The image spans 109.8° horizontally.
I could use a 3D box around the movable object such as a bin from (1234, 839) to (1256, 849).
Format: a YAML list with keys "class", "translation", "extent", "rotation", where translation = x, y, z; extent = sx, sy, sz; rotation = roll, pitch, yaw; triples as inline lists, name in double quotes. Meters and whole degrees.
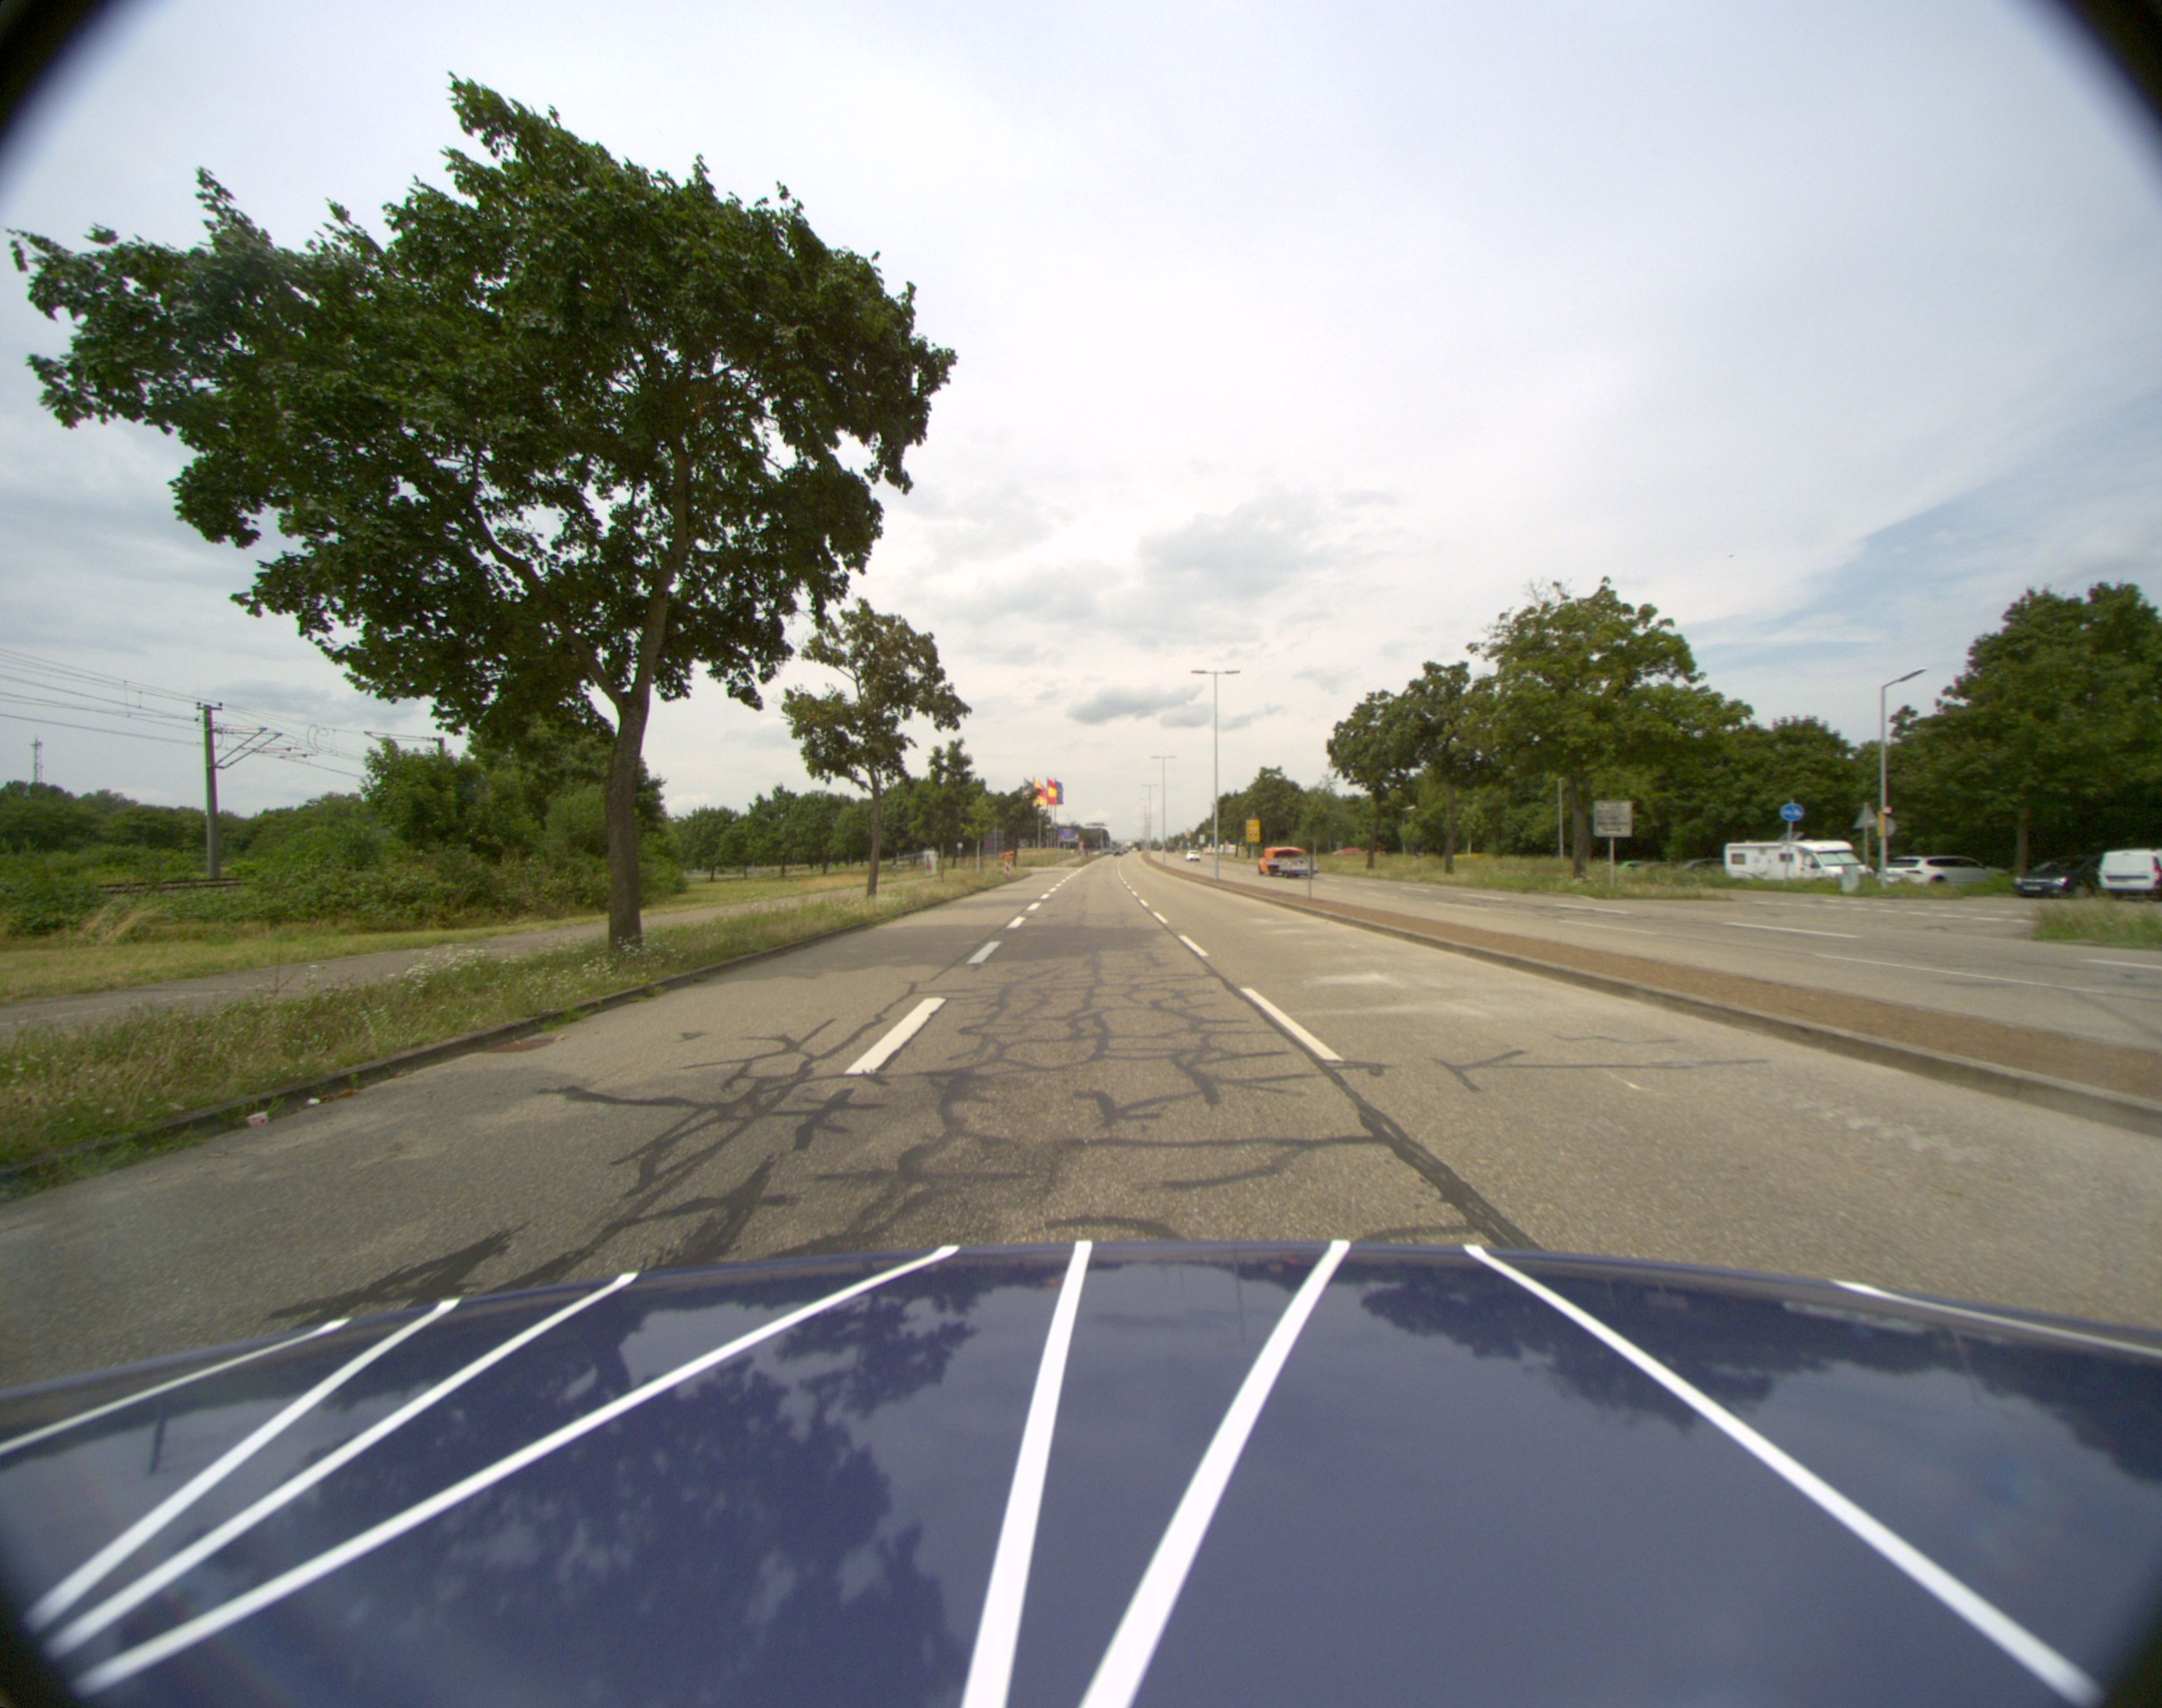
- class: "movable object such as a bin"
  translation: [38.453, -2.363, 177.926]
  extent: [4.592, 2.383, 1.999]
  rotation: [-1, 0, -6]

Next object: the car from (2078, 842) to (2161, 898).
- class: "car"
  translation: [38.327, 0.514, 26.677]
  extent: [3.997, 1.876, 1.939]
  rotation: [-1, 0, 1]

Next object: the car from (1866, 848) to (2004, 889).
- class: "car"
  translation: [37.935, 0.644, 33.820]
  extent: [3.997, 1.706, 1.886]
  rotation: [-1, 0, 1]

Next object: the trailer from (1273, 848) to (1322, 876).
- class: "trailer"
  translation: [13.475, 0.459, 47.489]
  extent: [2.067, 1.680, 3.895]
  rotation: [0, 0, 2]

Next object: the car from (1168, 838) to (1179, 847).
- class: "car"
  translation: [23.429, -2.828, 192.850]
  extent: [2.100, 2.188, 6.004]
  rotation: [0, 0, 2]

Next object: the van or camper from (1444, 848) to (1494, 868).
- class: "van or camper"
  translation: [41.762, 0.413, 81.836]
  extent: [4.361, 2.002, 2.001]
  rotation: [-3, 1, 12]

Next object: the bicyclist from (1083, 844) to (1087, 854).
- class: "bicyclist"
  translation: [0.706, -0.813, 127.558]
  extent: [0.623, 1.656, 0.669]
  rotation: [2, 0, 3]

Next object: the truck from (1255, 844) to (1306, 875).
- class: "truck"
  translation: [13.607, 0.357, 52.209]
  extent: [2.093, 1.983, 6.040]
  rotation: [0, 0, 1]

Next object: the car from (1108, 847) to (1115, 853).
- class: "car"
  translation: [7.319, -0.967, 182.268]
  extent: [1.558, 1.230, 3.471]
  rotation: [-2, 0, 4]

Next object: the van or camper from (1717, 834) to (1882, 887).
- class: "van or camper"
  translation: [37.650, 0.358, 40.204]
  extent: [2.477, 2.526, 6.721]
  rotation: [-1, 0, 2]

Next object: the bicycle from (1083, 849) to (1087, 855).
- class: "bicycle"
  translation: [0.699, -0.301, 127.462]
  extent: [0.624, 0.883, 2.154]
  rotation: [-1, 1, 3]

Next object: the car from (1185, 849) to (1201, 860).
- class: "car"
  translation: [15.631, 0.098, 106.030]
  extent: [1.721, 1.411, 4.160]
  rotation: [1, 0, 2]

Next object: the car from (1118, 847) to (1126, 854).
- class: "car"
  translation: [8.315, -0.686, 154.887]
  extent: [1.558, 1.230, 3.471]
  rotation: [-2, 0, 4]

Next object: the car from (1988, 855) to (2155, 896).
- class: "car"
  translation: [37.974, 0.815, 29.209]
  extent: [3.997, 1.477, 1.797]
  rotation: [-1, 0, 1]
